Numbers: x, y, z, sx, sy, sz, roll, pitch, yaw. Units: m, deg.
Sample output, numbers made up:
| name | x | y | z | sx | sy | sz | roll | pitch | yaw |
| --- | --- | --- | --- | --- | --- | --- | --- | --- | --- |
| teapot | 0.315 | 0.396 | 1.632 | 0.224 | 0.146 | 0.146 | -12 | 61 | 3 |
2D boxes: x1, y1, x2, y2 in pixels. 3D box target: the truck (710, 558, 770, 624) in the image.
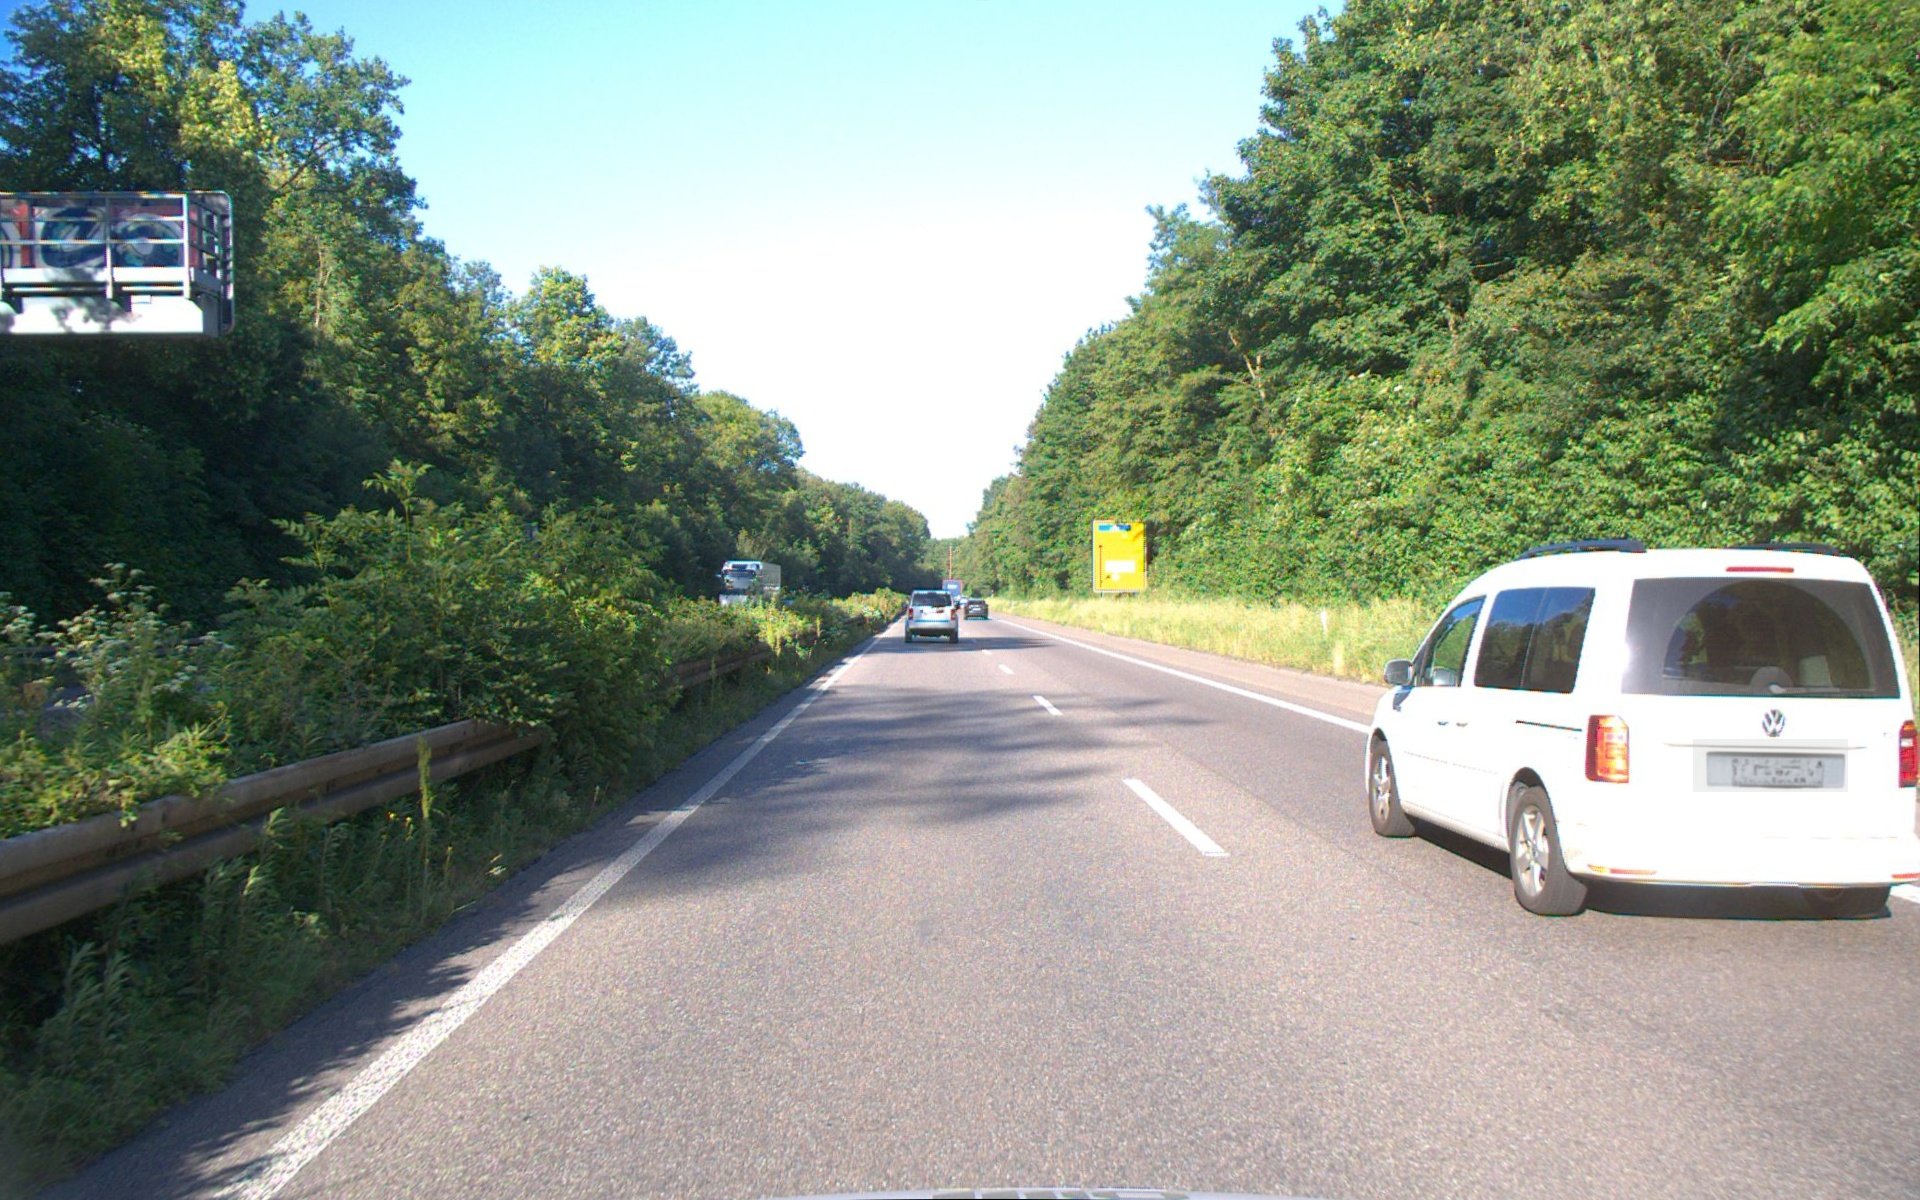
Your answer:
| name | x | y | z | sx | sy | sz | roll | pitch | yaw |
| --- | --- | --- | --- | --- | --- | --- | --- | --- | --- |
| truck | -14.142 | -0.585 | 106.851 | 3.163 | 4.083 | 5.675 | 1 | 0 | -1 |

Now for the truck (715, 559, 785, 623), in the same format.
| name | x | y | z | sx | sy | sz | roll | pitch | yaw |
| --- | --- | --- | --- | --- | --- | --- | --- | --- | --- |
| truck | -14.286 | -0.605 | 113.882 | 3.178 | 4.083 | 14.447 | 1 | 0 | -1 |

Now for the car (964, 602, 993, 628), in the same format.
| name | x | y | z | sx | sy | sz | roll | pitch | yaw |
| --- | --- | --- | --- | --- | --- | --- | --- | --- | --- |
| car | 1.334 | 1.092 | 121.742 | 1.912 | 1.813 | 4.586 | 1 | 0 | -2 |

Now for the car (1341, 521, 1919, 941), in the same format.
| name | x | y | z | sx | sy | sz | roll | pitch | yaw |
| --- | --- | --- | --- | --- | --- | --- | --- | --- | --- |
| car | 3.706 | 0.603 | 9.667 | 1.762 | 1.844 | 4.586 | 1 | 0 | -2 |

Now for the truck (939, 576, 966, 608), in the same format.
| name | x | y | z | sx | sy | sz | roll | pitch | yaw |
| --- | --- | --- | --- | --- | --- | --- | --- | --- | --- |
| truck | -1.064 | -1.111 | 233.386 | 3.658 | 4.419 | 9.302 | 1 | 0 | -1 |

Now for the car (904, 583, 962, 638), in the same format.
| name | x | y | z | sx | sy | sz | roll | pitch | yaw |
| --- | --- | --- | --- | --- | --- | --- | --- | --- | --- |
| car | -0.961 | 0.374 | 57.486 | 1.912 | 1.813 | 4.586 | 1 | 0 | -2 |
